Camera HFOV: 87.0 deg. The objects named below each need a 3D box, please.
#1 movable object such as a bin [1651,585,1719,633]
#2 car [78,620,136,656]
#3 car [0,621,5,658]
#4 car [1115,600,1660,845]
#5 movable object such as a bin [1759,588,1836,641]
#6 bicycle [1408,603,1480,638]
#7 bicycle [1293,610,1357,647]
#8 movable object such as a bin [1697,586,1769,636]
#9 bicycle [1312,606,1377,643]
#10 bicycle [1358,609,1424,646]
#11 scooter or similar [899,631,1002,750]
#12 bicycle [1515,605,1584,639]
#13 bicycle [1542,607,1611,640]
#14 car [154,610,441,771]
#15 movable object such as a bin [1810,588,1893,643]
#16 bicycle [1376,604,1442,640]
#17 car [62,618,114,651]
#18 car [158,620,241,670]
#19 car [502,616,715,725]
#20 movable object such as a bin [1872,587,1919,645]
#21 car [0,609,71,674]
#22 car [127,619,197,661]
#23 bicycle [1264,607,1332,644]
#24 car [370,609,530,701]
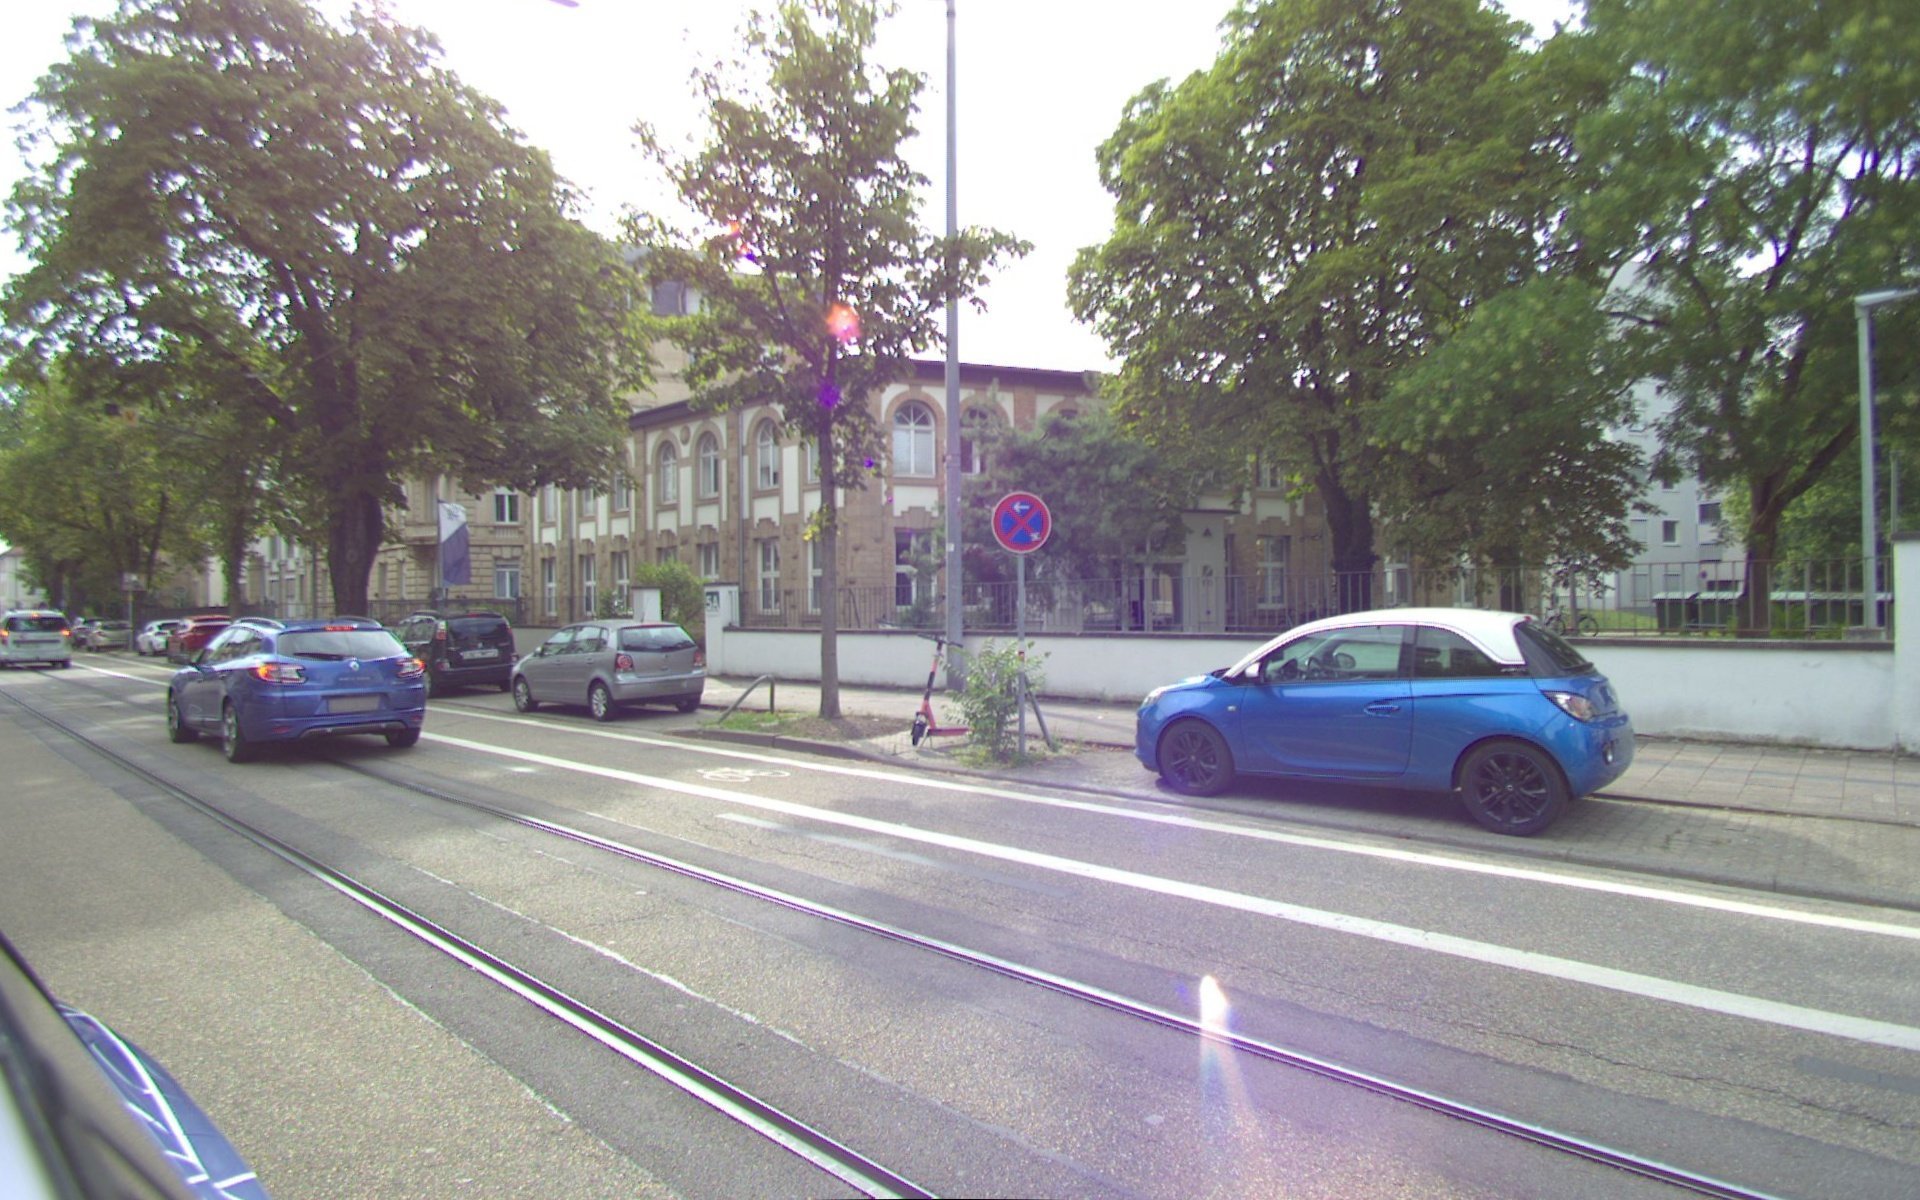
[{"bbox_3d":[22.481,0.265,31.397,1.103,1.441,1.288,0,0,-20],"label":"movable object such as a bin"},{"bbox_3d":[-41.171,1.806,48.836,3.905,1.646,1.637,-1,-1,42],"label":"car"},{"bbox_3d":[-44.043,1.745,45.253,4.334,1.624,1.713,-1,-1,43],"label":"car"},{"bbox_3d":[3.191,0.774,7.943,3.601,1.476,1.611,-1,-1,42],"label":"car"},{"bbox_3d":[23.669,0.405,28.624,1.103,1.441,1.288,0,0,-20],"label":"movable object such as a bin"},{"bbox_3d":[15.396,0.650,32.234,1.979,1.051,0.586,-1,0,45],"label":"bicycle"},{"bbox_3d":[10.860,0.833,30.166,0.584,1.051,1.984,-1,0,-22],"label":"bicycle"},{"bbox_3d":[22.977,0.321,30.094,1.103,1.441,1.288,0,0,-20],"label":"movable object such as a bin"},{"bbox_3d":[11.559,0.727,30.490,0.584,1.051,1.984,-1,0,-22],"label":"bicycle"},{"bbox_3d":[13.165,0.822,30.960,0.584,1.051,1.984,-1,0,-22],"label":"bicycle"},{"bbox_3d":[-0.097,0.963,10.974,0.988,1.176,0.370,-3,0,-24],"label":"scooter or similar"},{"bbox_3d":[19.339,0.714,33.258,0.584,1.051,1.984,-1,0,-22],"label":"bicycle"},{"bbox_3d":[20.565,0.782,33.794,0.584,1.051,1.984,-1,0,-22],"label":"bicycle"},{"bbox_3d":[-7.720,0.899,11.615,4.377,1.508,1.713,-2,-2,42],"label":"car"},{"bbox_3d":[24.030,0.402,27.300,1.103,1.441,1.288,0,0,-20],"label":"movable object such as a bin"},{"bbox_3d":[13.863,0.667,31.290,0.584,1.051,1.984,-1,0,-22],"label":"bicycle"},{"bbox_3d":[-46.457,1.807,53.899,3.905,1.646,1.637,-1,-1,42],"label":"car"},{"bbox_3d":[-26.940,1.547,35.797,3.905,1.646,1.637,-1,-1,42],"label":"car"},{"bbox_3d":[-5.533,1.016,15.748,3.573,1.476,1.611,-1,-1,42],"label":"car"},{"bbox_3d":[24.363,0.390,25.773,1.103,1.441,1.288,0,0,-20],"label":"movable object such as a bin"},{"bbox_3d":[-29.390,1.267,31.733,4.376,1.898,1.714,-1,-1,41],"label":"car"},{"bbox_3d":[-33.156,1.626,41.998,3.905,1.613,1.637,-1,-1,42],"label":"car"},{"bbox_3d":[9.977,0.745,29.941,0.584,1.051,1.984,-1,0,-30],"label":"bicycle"},{"bbox_3d":[-10.290,1.044,20.316,3.724,1.646,1.637,-1,-1,42],"label":"car"}]
